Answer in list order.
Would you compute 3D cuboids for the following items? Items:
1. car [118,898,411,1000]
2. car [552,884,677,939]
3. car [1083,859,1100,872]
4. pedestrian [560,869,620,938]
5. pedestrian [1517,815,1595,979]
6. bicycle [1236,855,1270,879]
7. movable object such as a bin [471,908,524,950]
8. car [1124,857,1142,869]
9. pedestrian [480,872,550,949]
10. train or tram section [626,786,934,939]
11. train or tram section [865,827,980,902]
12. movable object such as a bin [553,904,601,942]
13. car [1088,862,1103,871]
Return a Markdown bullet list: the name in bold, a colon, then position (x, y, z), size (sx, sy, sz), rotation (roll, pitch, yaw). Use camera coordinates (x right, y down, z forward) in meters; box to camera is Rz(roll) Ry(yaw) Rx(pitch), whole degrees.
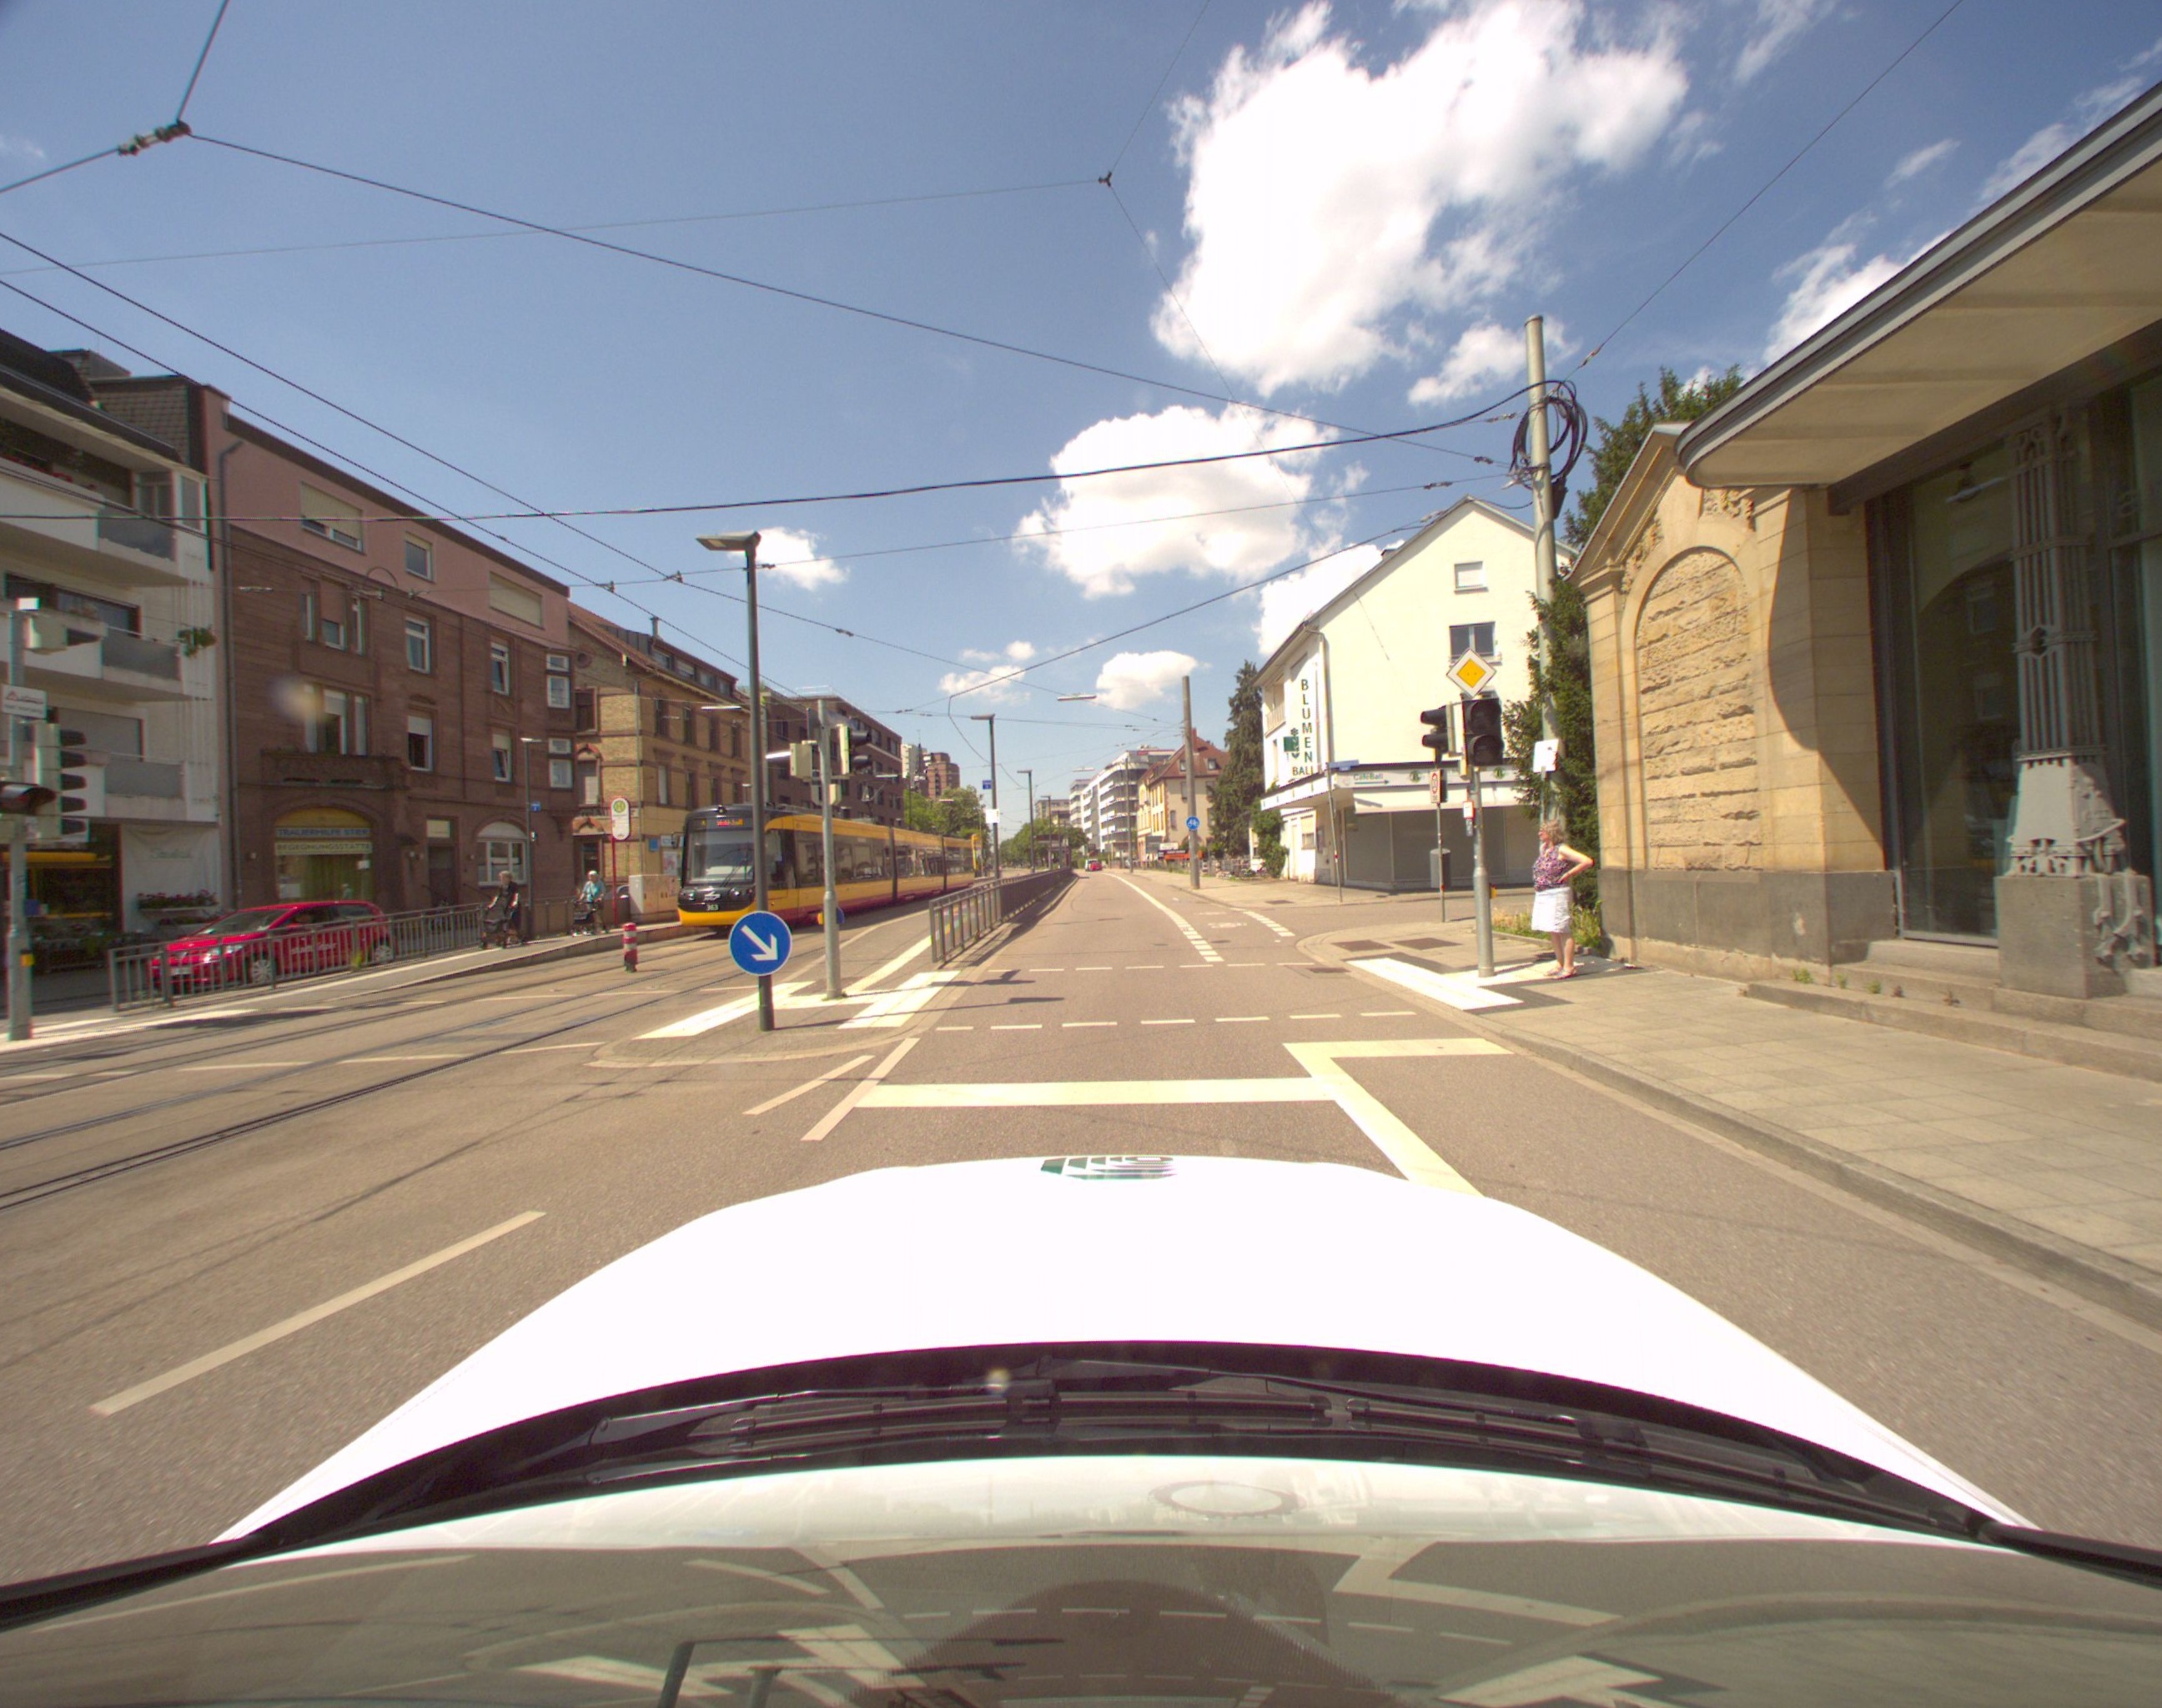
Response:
- **car**: position (-15.361, 1.706, 15.662), size (1.649, 1.445, 3.854), rotation (-3, 0, 1)
- **car**: position (-15.163, 1.822, 26.718), size (1.644, 1.456, 3.792), rotation (-4, -1, 3)
- **car**: position (1.730, 1.931, 138.013), size (1.992, 1.991, 5.501), rotation (-4, 0, -7)
- **pedestrian**: position (-11.653, 1.152, 19.355), size (0.783, 1.560, 0.920), rotation (-3, -1, 1)
- **pedestrian**: position (5.041, 0.446, 8.676), size (0.558, 1.666, 0.685), rotation (-3, -1, 24)
- **bicycle**: position (8.573, 0.655, 40.590), size (1.525, 1.086, 0.430), rotation (-5, -1, 6)
- **movable object such as a bin**: position (-12.113, 1.546, 16.909), size (0.673, 0.780, 0.538), rotation (-3, -1, -1)
- **car**: position (7.731, 1.382, 121.423), size (1.874, 1.624, 4.632), rotation (-5, -1, -4)
- **pedestrian**: position (-12.159, 1.188, 17.514), size (0.783, 1.560, 0.920), rotation (-3, -1, 1)
- **train or tram section**: position (-9.164, 0.373, 30.025), size (3.239, 3.567, 20.502), rotation (-3, -1, 1)
- **train or tram section**: position (-8.824, 0.661, 48.352), size (3.224, 3.567, 16.350), rotation (-3, -1, 1)
- **movable object such as a bin**: position (-11.645, 1.589, 18.834), size (0.673, 0.780, 0.619), rotation (-3, -1, -1)
- **car**: position (2.294, 2.016, 131.134), size (1.990, 1.442, 4.009), rotation (-2, -1, -5)
